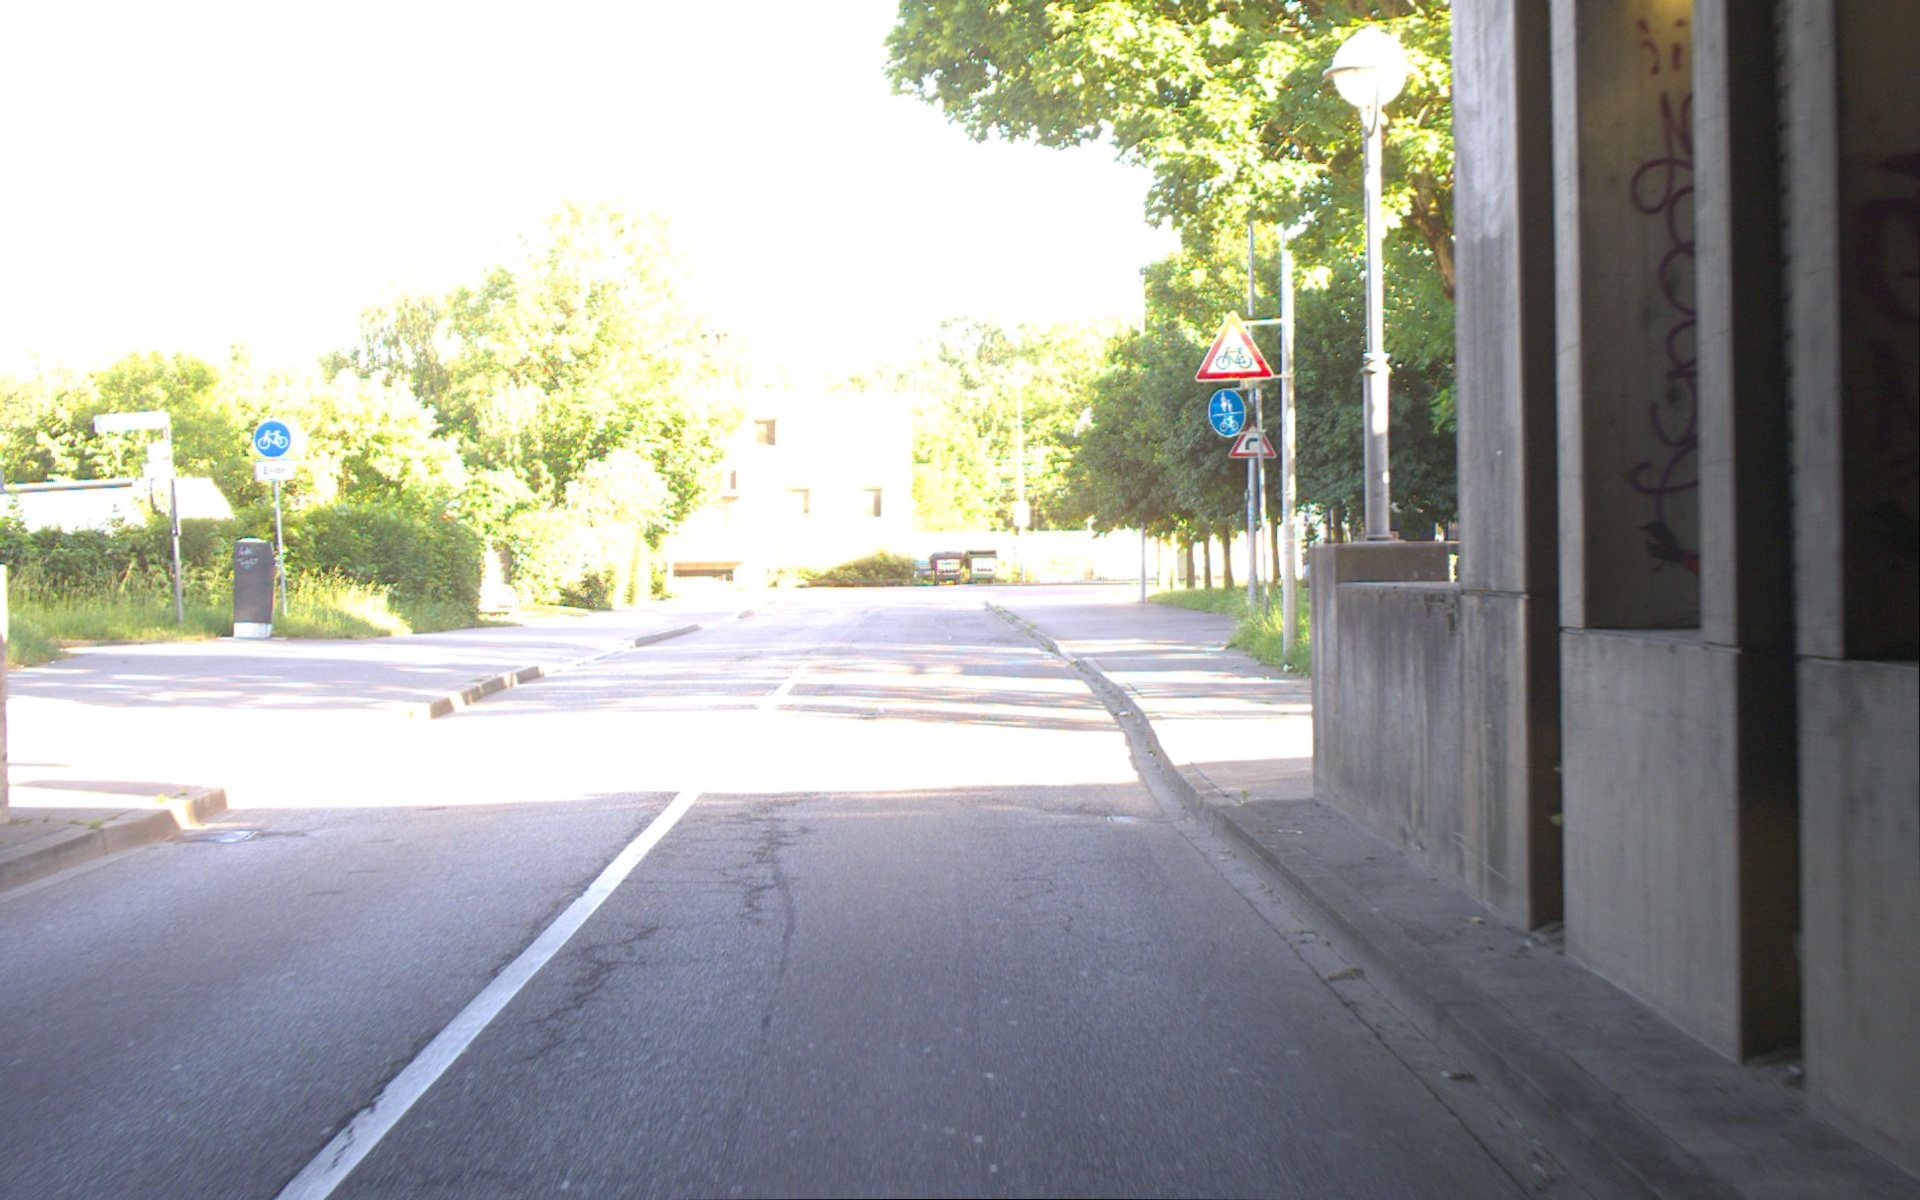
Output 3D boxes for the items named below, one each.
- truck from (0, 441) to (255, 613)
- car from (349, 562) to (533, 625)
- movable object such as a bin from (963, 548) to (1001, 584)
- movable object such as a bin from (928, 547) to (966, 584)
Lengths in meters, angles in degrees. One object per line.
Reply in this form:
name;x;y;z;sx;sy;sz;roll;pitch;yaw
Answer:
truck;-21.333;-1.648;82.011;9.319;3.870;2.707;-1;-1;29
car;-12.950;-0.161;85.735;4.216;1.485;1.874;1;0;26
movable object such as a bin;0.890;-1.346;137.587;1.364;1.413;1.066;1;0;-7
movable object such as a bin;-0.528;-1.373;137.395;1.364;1.413;1.066;1;0;-7
